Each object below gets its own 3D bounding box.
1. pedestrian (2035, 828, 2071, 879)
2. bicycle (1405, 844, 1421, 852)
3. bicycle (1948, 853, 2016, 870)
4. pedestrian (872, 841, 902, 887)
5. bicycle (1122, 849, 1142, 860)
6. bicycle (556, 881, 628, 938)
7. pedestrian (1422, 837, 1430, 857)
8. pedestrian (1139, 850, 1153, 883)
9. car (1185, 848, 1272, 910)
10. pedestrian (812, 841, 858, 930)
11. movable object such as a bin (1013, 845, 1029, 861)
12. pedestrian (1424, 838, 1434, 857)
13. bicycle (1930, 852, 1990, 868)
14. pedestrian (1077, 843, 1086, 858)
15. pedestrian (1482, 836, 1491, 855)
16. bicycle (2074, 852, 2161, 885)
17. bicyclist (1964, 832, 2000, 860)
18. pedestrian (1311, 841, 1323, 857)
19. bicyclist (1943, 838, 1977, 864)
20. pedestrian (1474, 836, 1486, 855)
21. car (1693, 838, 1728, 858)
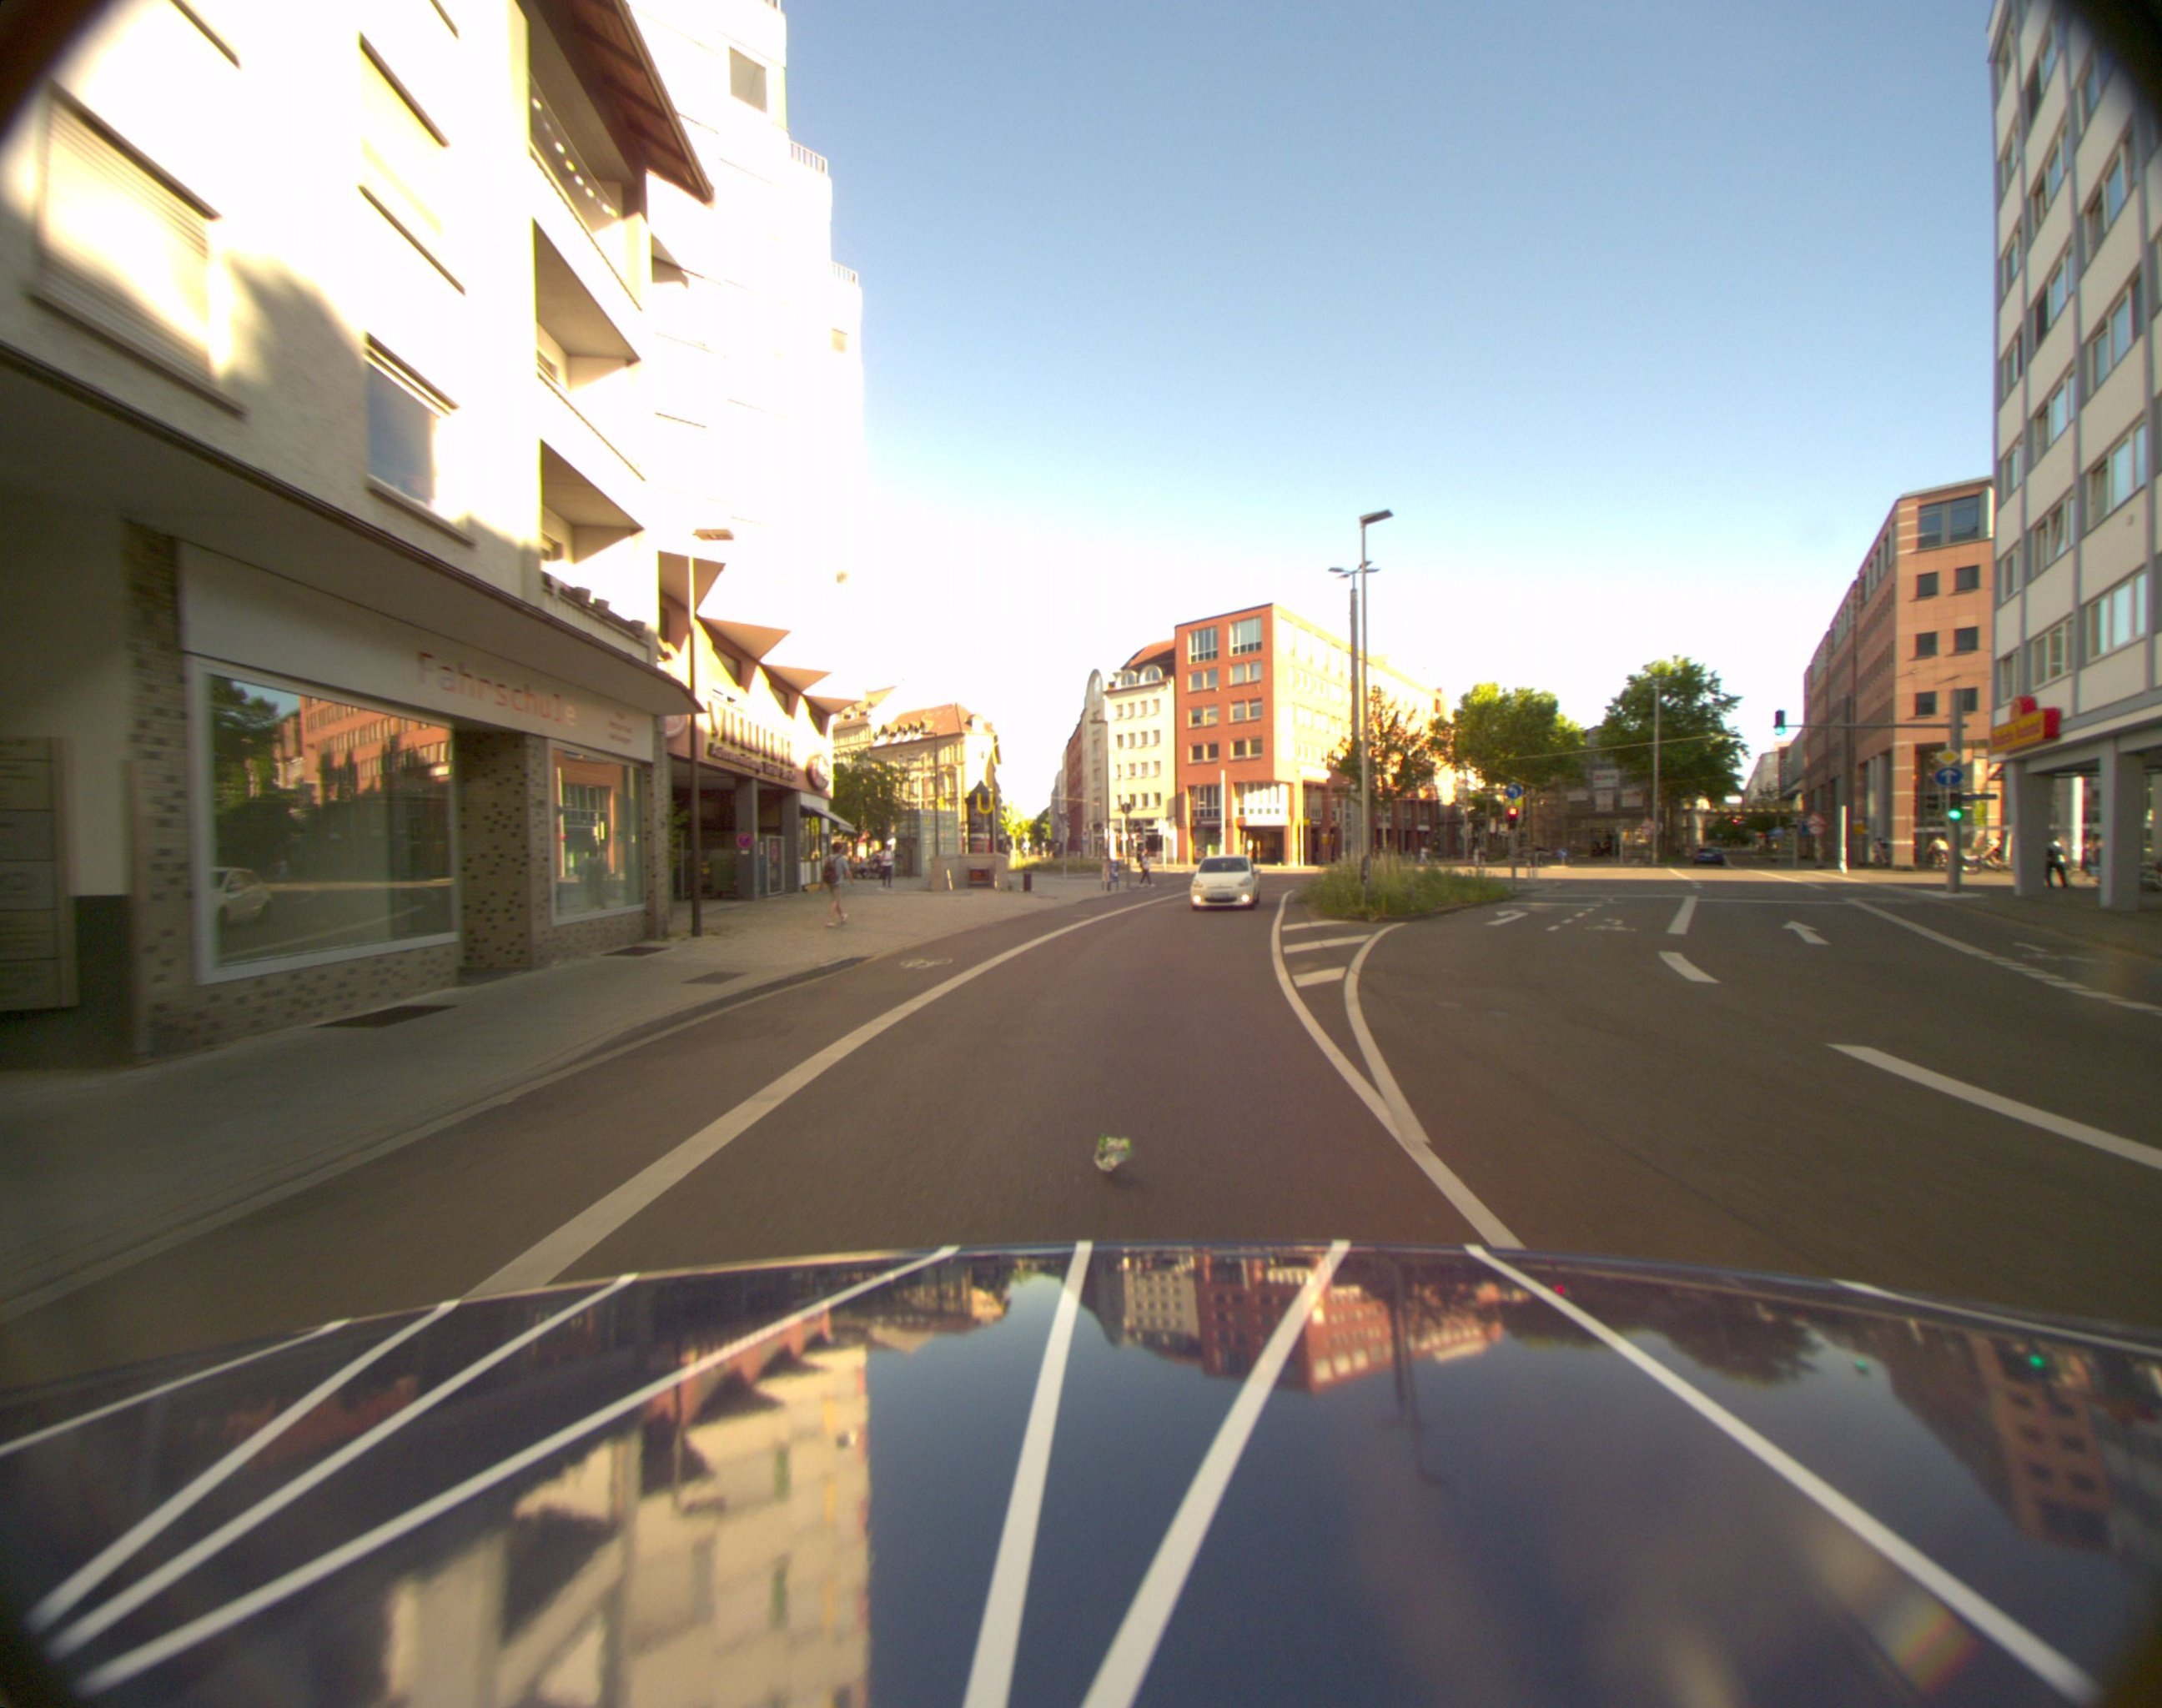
[{"bbox_3d":[34.393,-0.034,26.894,0.628,1.781,0.786,0,2,41],"label":"pedestrian"},{"bbox_3d":[40.923,-0.747,93.703,1.611,0.950,0.556,3,3,42],"label":"bicycle"},{"bbox_3d":[44.211,0.358,37.314,2.013,0.803,0.781,-1,1,38],"label":"bicycle"},{"bbox_3d":[-8.041,0.415,31.479,1.042,1.856,0.689,0,2,42],"label":"pedestrian"},{"bbox_3d":[4.762,0.091,71.272,1.860,0.985,0.460,-1,3,40],"label":"bicycle"},{"bbox_3d":[-9.996,1.103,15.597,0.496,1.032,1.637,-1,1,-5],"label":"bicycle"},{"bbox_3d":[30.917,-0.620,68.123,0.476,1.782,0.542,0,1,40],"label":"pedestrian"},{"bbox_3d":[3.083,0.586,36.176,0.541,1.574,0.557,-1,1,-3],"label":"pedestrian"},{"bbox_3d":[4.237,0.634,21.301,1.806,1.492,4.206,-1,1,19],"label":"car"},{"bbox_3d":[-5.267,0.663,16.320,0.733,1.844,0.947,1,2,-5],"label":"pedestrian"},{"bbox_3d":[-7.021,-0.164,88.830,1.649,1.773,1.401,-3,1,-9],"label":"movable object such as a bin"},{"bbox_3d":[31.497,-0.600,68.715,0.634,1.715,0.631,0,1,40],"label":"pedestrian"},{"bbox_3d":[45.339,0.315,39.218,2.015,0.803,0.618,-1,1,17],"label":"bicycle"},{"bbox_3d":[0.025,-0.424,85.100,0.693,1.629,0.960,-2,3,-19],"label":"pedestrian"},{"bbox_3d":[36.087,-0.768,67.588,0.566,1.670,0.532,0,2,41],"label":"pedestrian"},{"bbox_3d":[33.953,0.457,24.904,0.595,1.047,2.008,-1,1,15],"label":"bicycle"},{"bbox_3d":[44.205,-0.406,37.287,1.019,1.332,0.781,-1,1,38],"label":"bicyclist"},{"bbox_3d":[23.085,-0.486,74.351,0.845,1.580,0.754,-1,1,0],"label":"pedestrian"},{"bbox_3d":[45.349,-0.163,39.202,0.955,1.304,0.618,-1,1,17],"label":"bicyclist"},{"bbox_3d":[35.315,-0.763,67.259,0.778,1.724,0.850,0,2,37],"label":"pedestrian"},{"bbox_3d":[48.420,-0.468,58.509,1.833,1.378,4.605,0,2,37],"label":"car"}]
